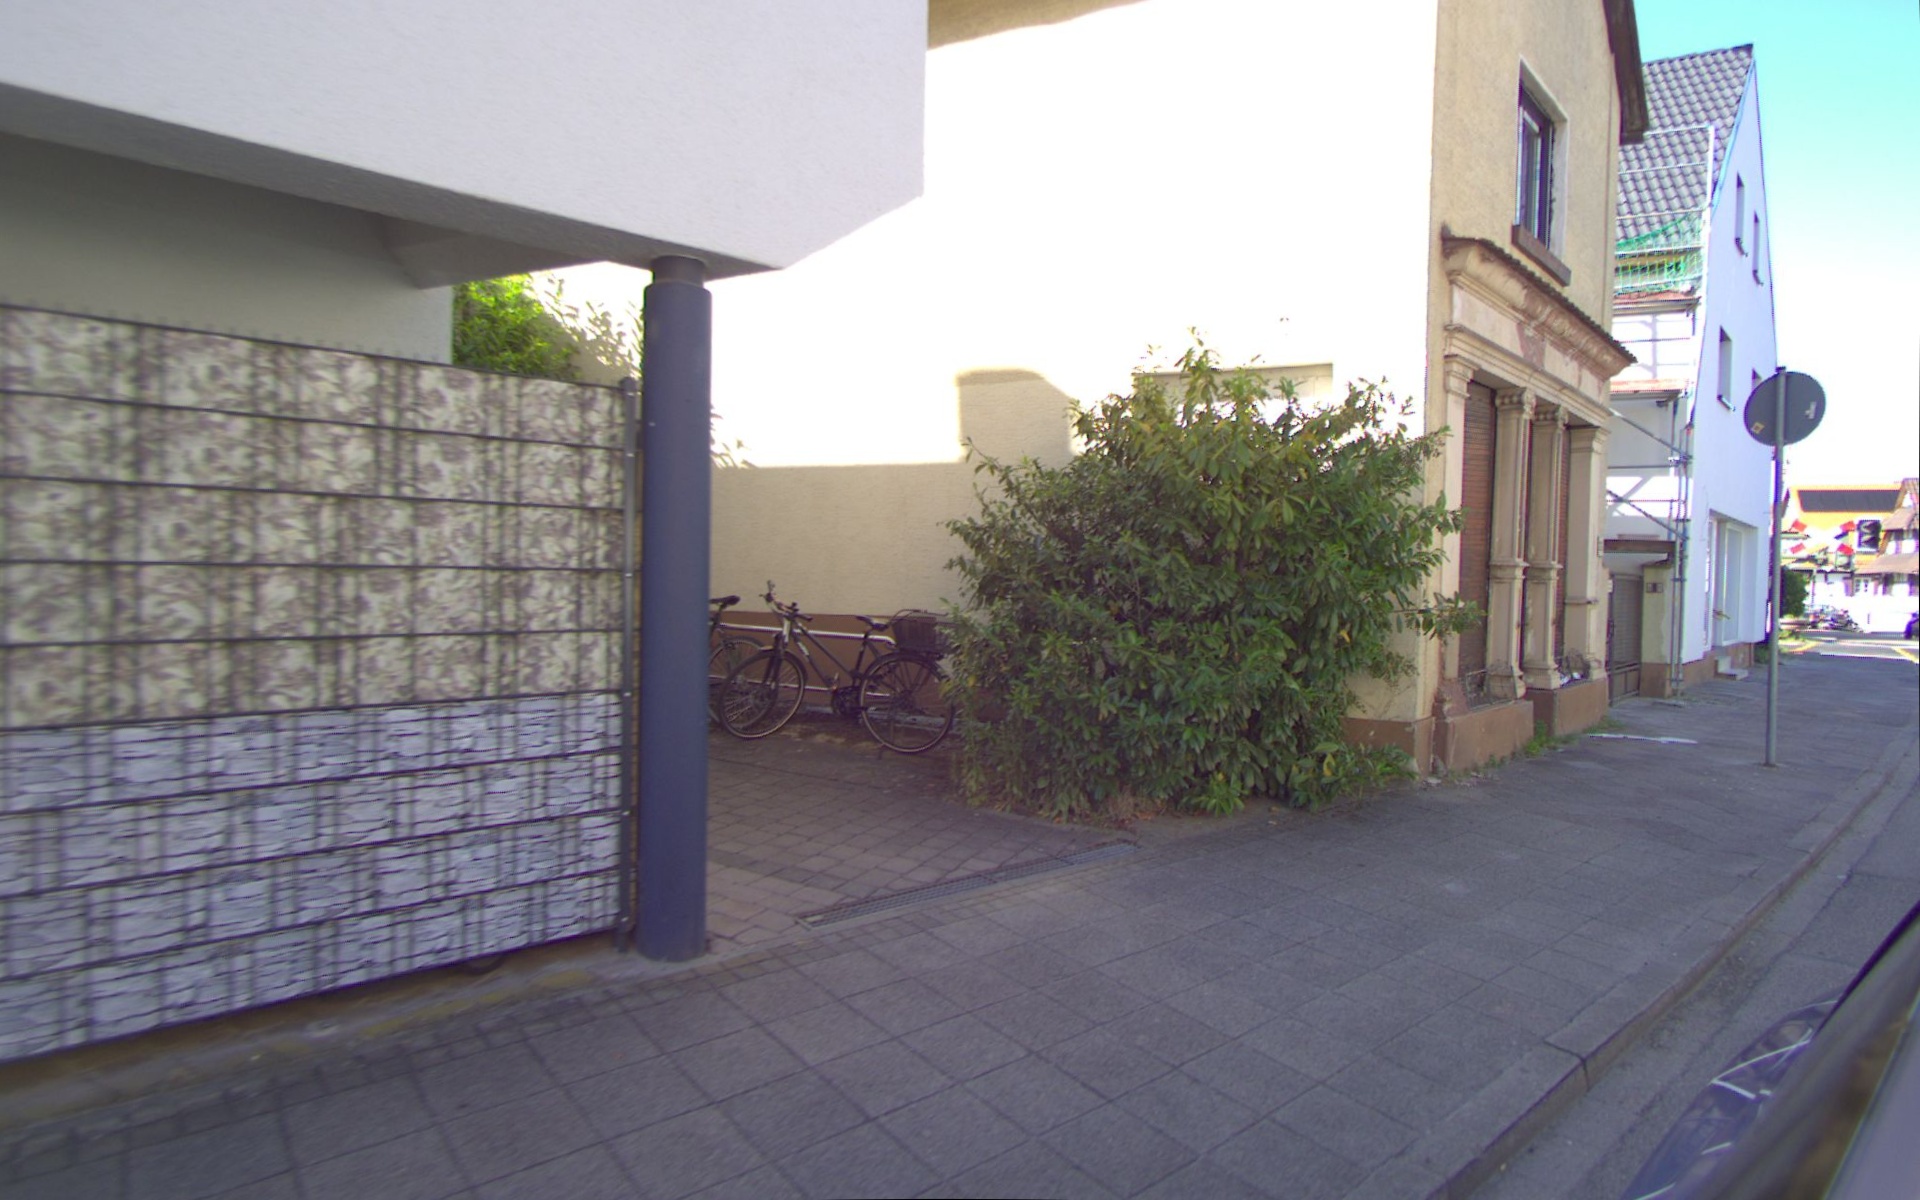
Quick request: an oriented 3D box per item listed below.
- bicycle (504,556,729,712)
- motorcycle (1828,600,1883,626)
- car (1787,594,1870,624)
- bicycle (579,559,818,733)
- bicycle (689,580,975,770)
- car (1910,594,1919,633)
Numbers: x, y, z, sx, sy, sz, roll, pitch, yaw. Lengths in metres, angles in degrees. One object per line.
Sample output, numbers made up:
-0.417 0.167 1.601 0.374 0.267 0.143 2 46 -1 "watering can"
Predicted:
-2.953 0.245 8.693 1.785 1.164 0.697 3 3 21 "bicycle"
45.962 0.643 51.954 0.613 1.247 1.999 1 1 -23 "motorcycle"
47.249 0.465 55.196 1.829 1.423 5.000 3 2 22 "car"
-2.064 0.303 7.935 1.790 1.164 0.695 4 3 28 "bicycle"
-0.858 0.457 6.899 1.781 1.091 0.698 3 3 15 "bicycle"
38.233 0.570 38.779 1.675 1.529 3.620 -1 1 27 "car"
